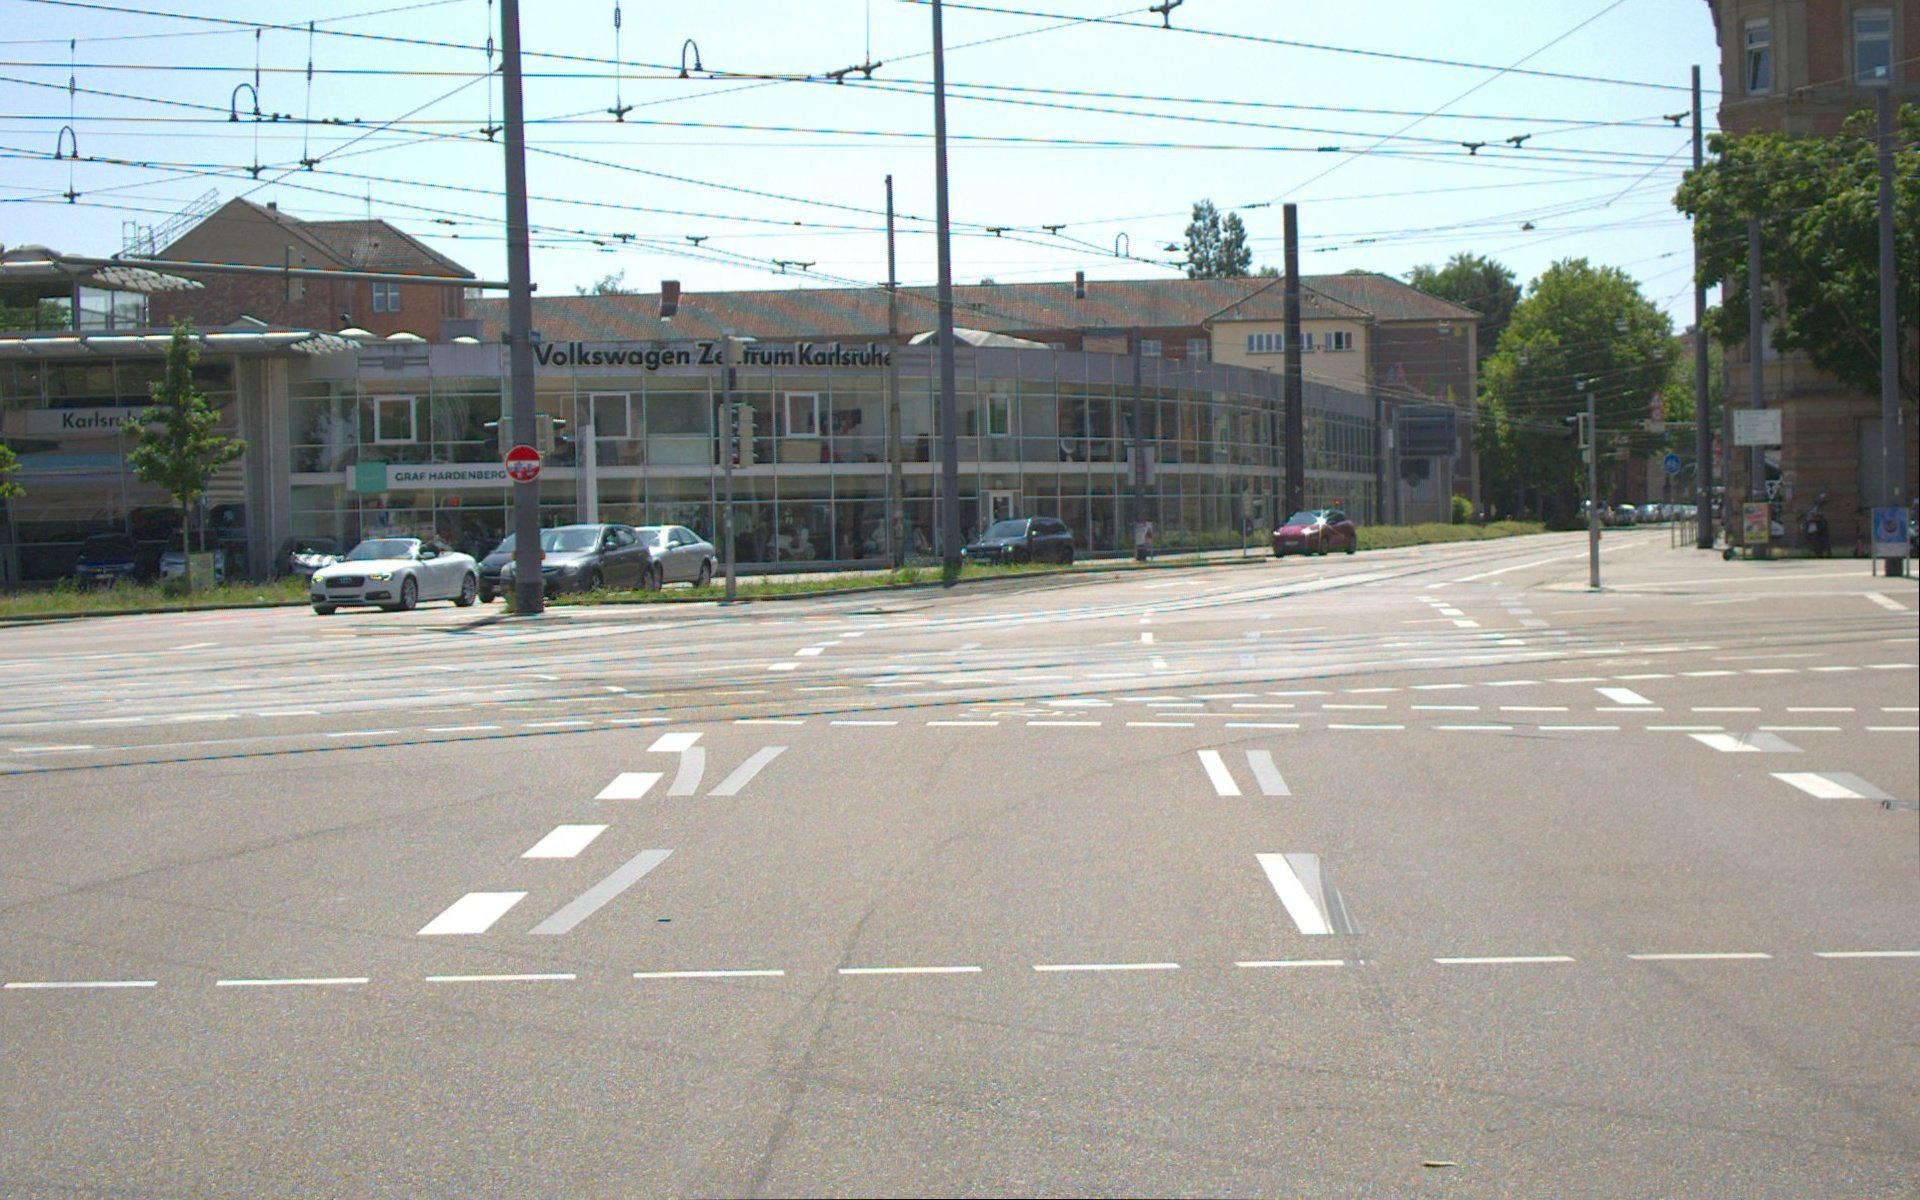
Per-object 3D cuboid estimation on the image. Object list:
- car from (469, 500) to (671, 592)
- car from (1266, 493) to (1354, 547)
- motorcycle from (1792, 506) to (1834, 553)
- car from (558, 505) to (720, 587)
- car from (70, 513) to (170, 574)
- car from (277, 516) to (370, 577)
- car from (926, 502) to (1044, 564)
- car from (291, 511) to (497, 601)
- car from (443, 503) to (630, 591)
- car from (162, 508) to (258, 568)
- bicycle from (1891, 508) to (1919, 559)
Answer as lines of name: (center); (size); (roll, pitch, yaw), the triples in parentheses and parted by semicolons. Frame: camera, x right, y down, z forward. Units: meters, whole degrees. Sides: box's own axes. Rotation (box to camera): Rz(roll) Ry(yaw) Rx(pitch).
car: (-7.267, -1.040, 64.547); (1.995, 1.631, 4.843); (-1, 2, 17)
car: (12.040, -2.746, 118.122); (1.996, 1.769, 3.995); (1, 1, 22)
motorcycle: (19.626, -1.630, 79.151); (0.580, 1.071, 1.946); (-1, 1, 3)
car: (-7.075, -1.223, 76.290); (1.995, 1.733, 4.540); (-1, 2, 17)
car: (-24.448, -1.634, 100.157); (1.920, 1.701, 4.000); (1, 1, 0)
car: (-18.518, -1.549, 100.142); (1.920, 1.701, 4.000); (1, 1, 0)
car: (0.756, -1.939, 98.850); (2.080, 1.677, 4.843); (-1, 2, 17)
car: (-10.514, -0.851, 64.238); (2.078, 1.574, 4.844); (-1, 2, 13)
car: (-8.620, -1.119, 70.375); (1.995, 1.694, 4.843); (-1, 2, 17)
car: (-21.804, -1.792, 100.075); (1.920, 1.701, 4.000); (1, 1, 0)
bicycle: (21.951, -1.534, 79.534); (0.442, 1.142, 2.093); (1, 1, 6)
